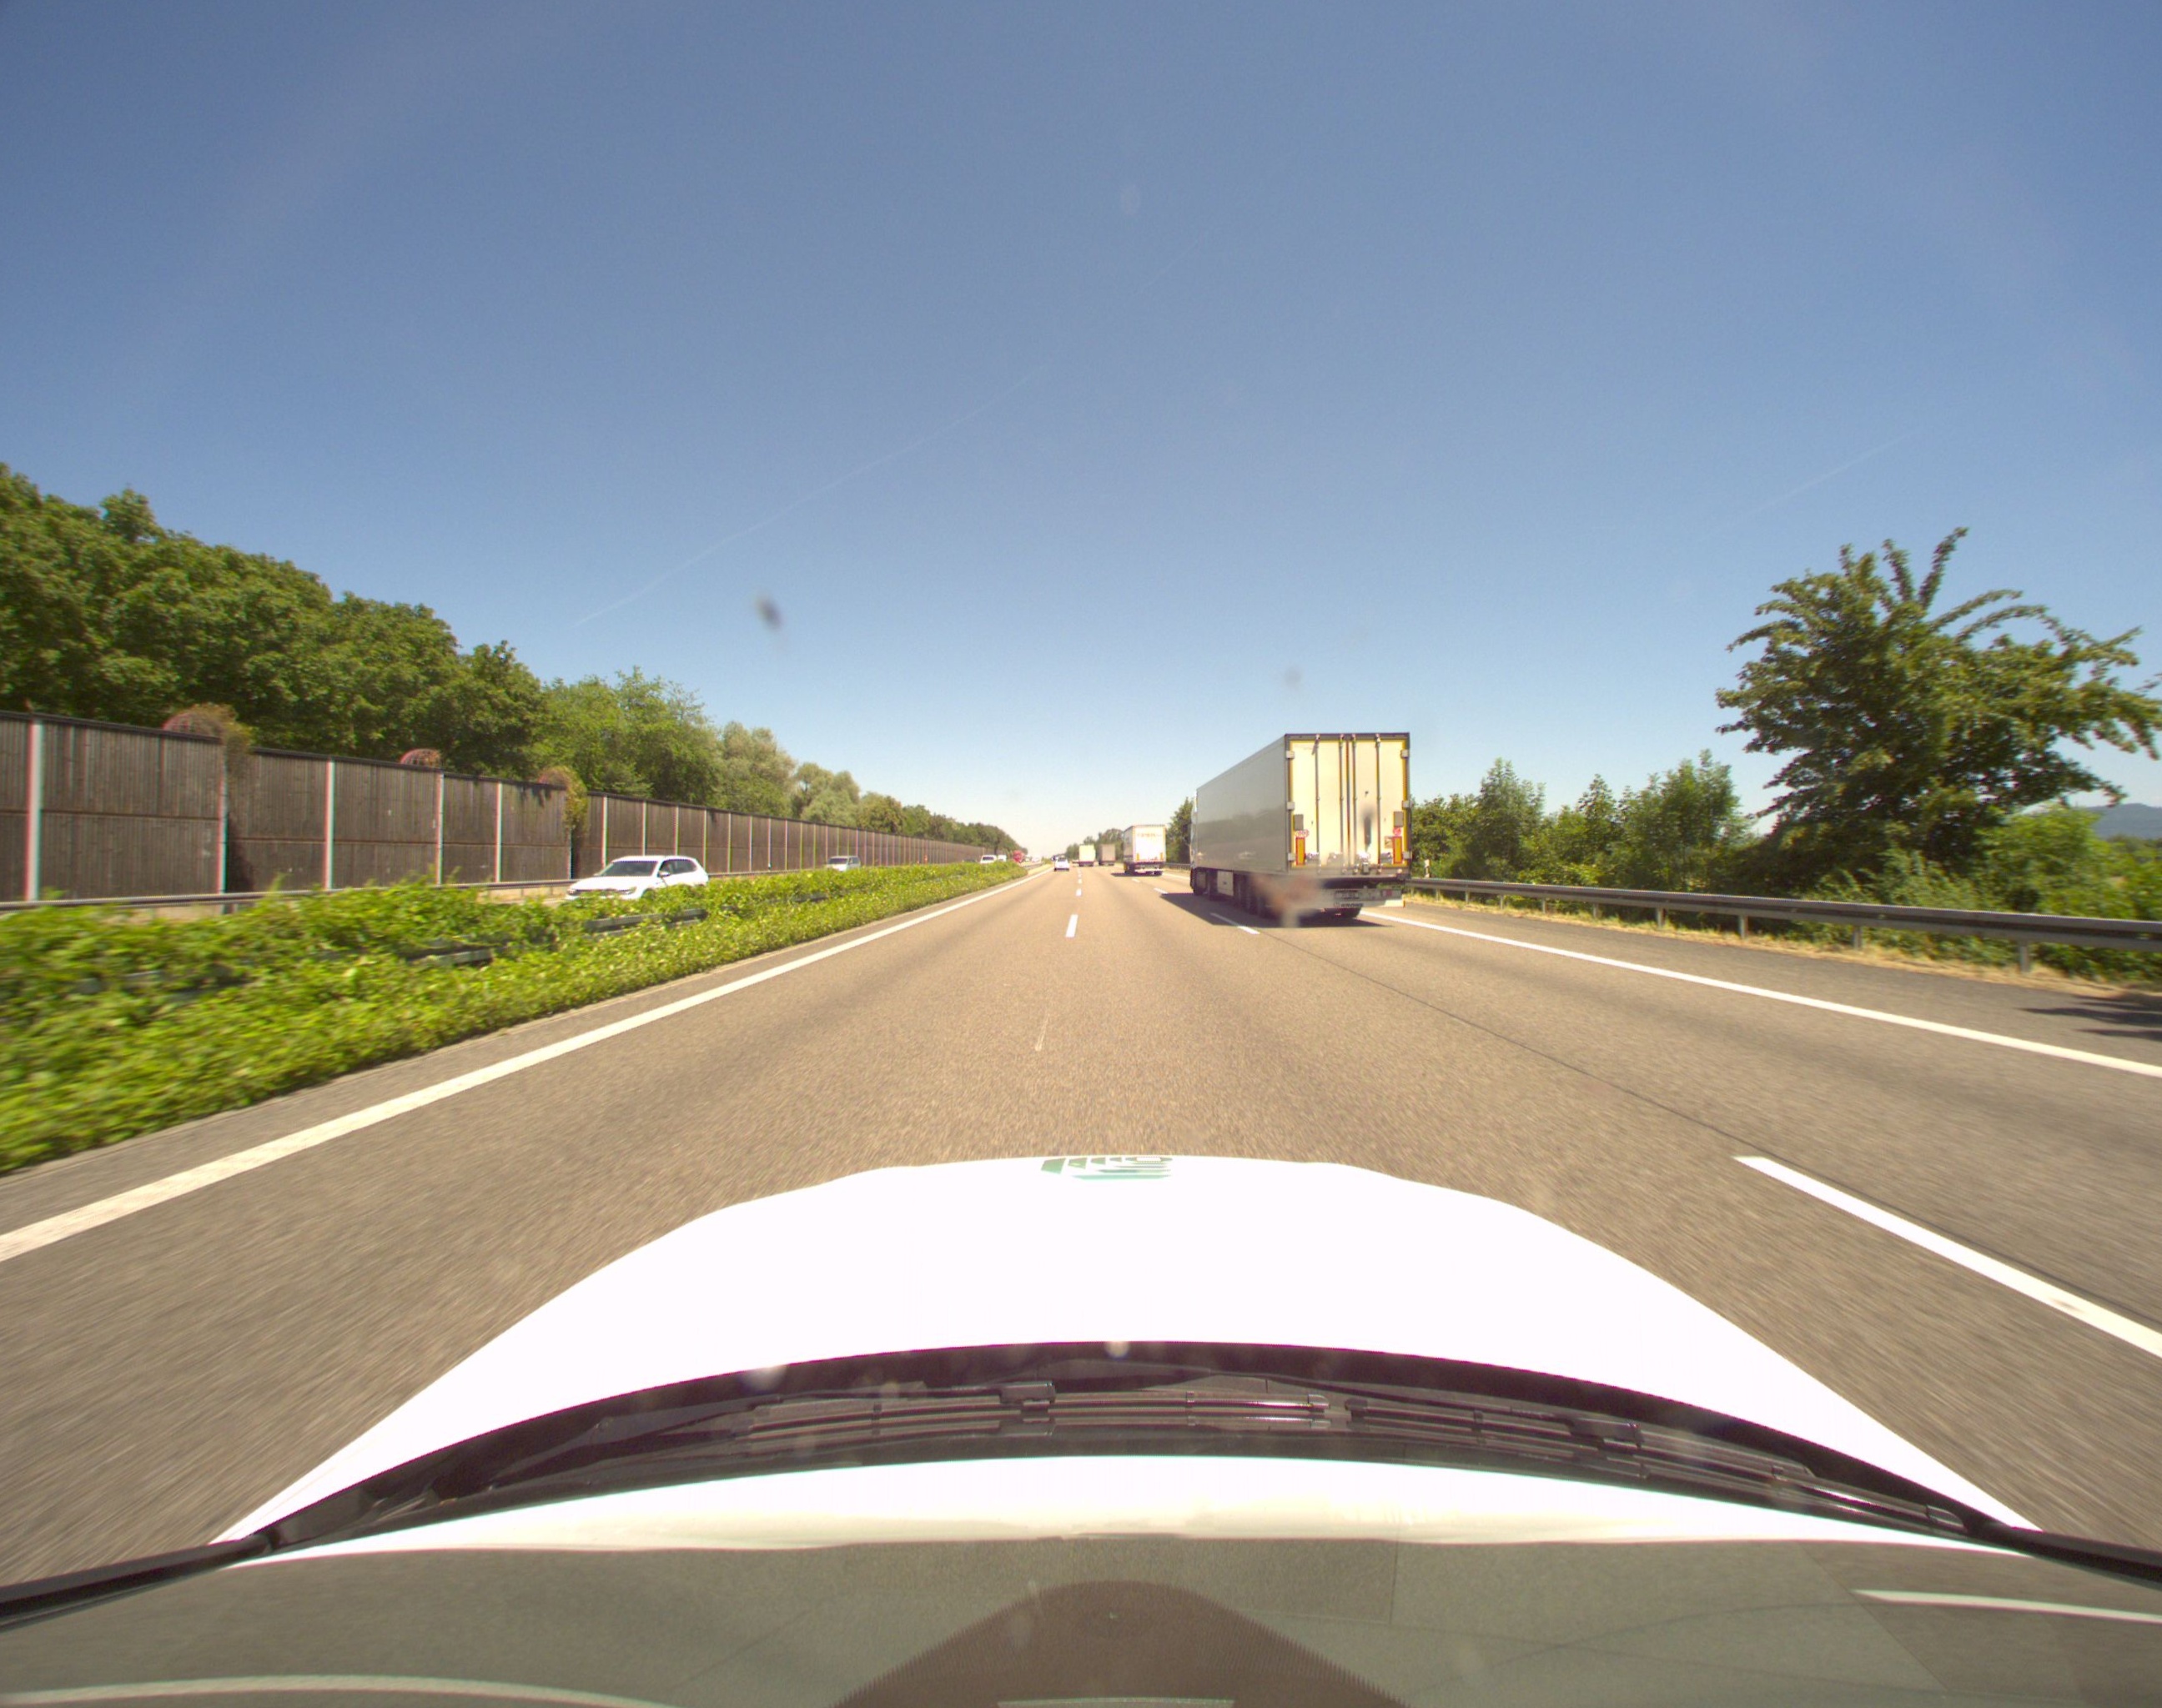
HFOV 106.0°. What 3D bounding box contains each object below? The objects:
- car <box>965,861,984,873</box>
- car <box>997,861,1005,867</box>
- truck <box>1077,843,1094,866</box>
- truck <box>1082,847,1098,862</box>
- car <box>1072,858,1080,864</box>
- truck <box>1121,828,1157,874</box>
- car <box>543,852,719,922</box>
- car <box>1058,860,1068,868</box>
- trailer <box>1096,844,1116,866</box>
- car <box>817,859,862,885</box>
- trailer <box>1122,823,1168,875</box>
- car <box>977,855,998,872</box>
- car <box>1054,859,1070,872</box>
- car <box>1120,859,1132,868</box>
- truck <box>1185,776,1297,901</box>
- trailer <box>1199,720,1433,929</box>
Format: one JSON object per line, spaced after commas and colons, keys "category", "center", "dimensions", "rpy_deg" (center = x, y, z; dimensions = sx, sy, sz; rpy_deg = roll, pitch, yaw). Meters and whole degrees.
{"category": "car", "center": [-15.103, 1.819, 115.939], "dimensions": [1.988, 1.643, 5.584], "rpy_deg": [-1, 0, -1]}
{"category": "car", "center": [-22.629, 2.844, 231.366], "dimensions": [1.894, 1.711, 4.902], "rpy_deg": [-1, 0, -2]}
{"category": "truck", "center": [0.717, 0.183, 149.198], "dimensions": [2.699, 4.086, 13.464], "rpy_deg": [0, -1, -1]}
{"category": "truck", "center": [2.501, 0.158, 236.514], "dimensions": [3.369, 4.304, 11.428], "rpy_deg": [3, -1, -5]}
{"category": "car", "center": [-1.302, 1.918, 217.893], "dimensions": [1.849, 1.617, 4.000], "rpy_deg": [-1, -1, 1]}
{"category": "truck", "center": [5.298, -0.255, 75.946], "dimensions": [2.699, 4.088, 6.960], "rpy_deg": [0, -1, -1]}
{"category": "car", "center": [-11.919, 0.802, 22.070], "dimensions": [1.987, 1.647, 5.043], "rpy_deg": [-1, 0, 0]}
{"category": "car", "center": [-3.545, 1.960, 158.793], "dimensions": [1.850, 1.617, 3.997], "rpy_deg": [-1, -1, -1]}
{"category": "trailer", "center": [4.870, 0.289, 160.222], "dimensions": [2.698, 4.216, 13.194], "rpy_deg": [0, -1, -3]}
{"category": "car", "center": [-19.630, 1.451, 66.448], "dimensions": [1.987, 2.014, 5.385], "rpy_deg": [-1, 0, 1]}
{"category": "trailer", "center": [5.350, -0.328, 70.628], "dimensions": [2.699, 4.088, 14.144], "rpy_deg": [0, -1, -1]}
{"category": "car", "center": [-11.854, 1.210, 103.571], "dimensions": [1.988, 2.014, 5.344], "rpy_deg": [-1, 0, -1]}
{"category": "car", "center": [-2.297, 1.423, 99.378], "dimensions": [1.850, 1.486, 3.997], "rpy_deg": [-1, -1, -1]}
{"category": "car", "center": [7.856, 1.620, 141.960], "dimensions": [1.850, 1.617, 3.997], "rpy_deg": [-1, -1, -1]}
{"category": "truck", "center": [5.657, -0.495, 29.906], "dimensions": [2.949, 4.106, 6.207], "rpy_deg": [-1, 0, 1]}
{"category": "trailer", "center": [5.564, -0.546, 22.414], "dimensions": [2.949, 4.106, 12.532], "rpy_deg": [-1, 0, 1]}
